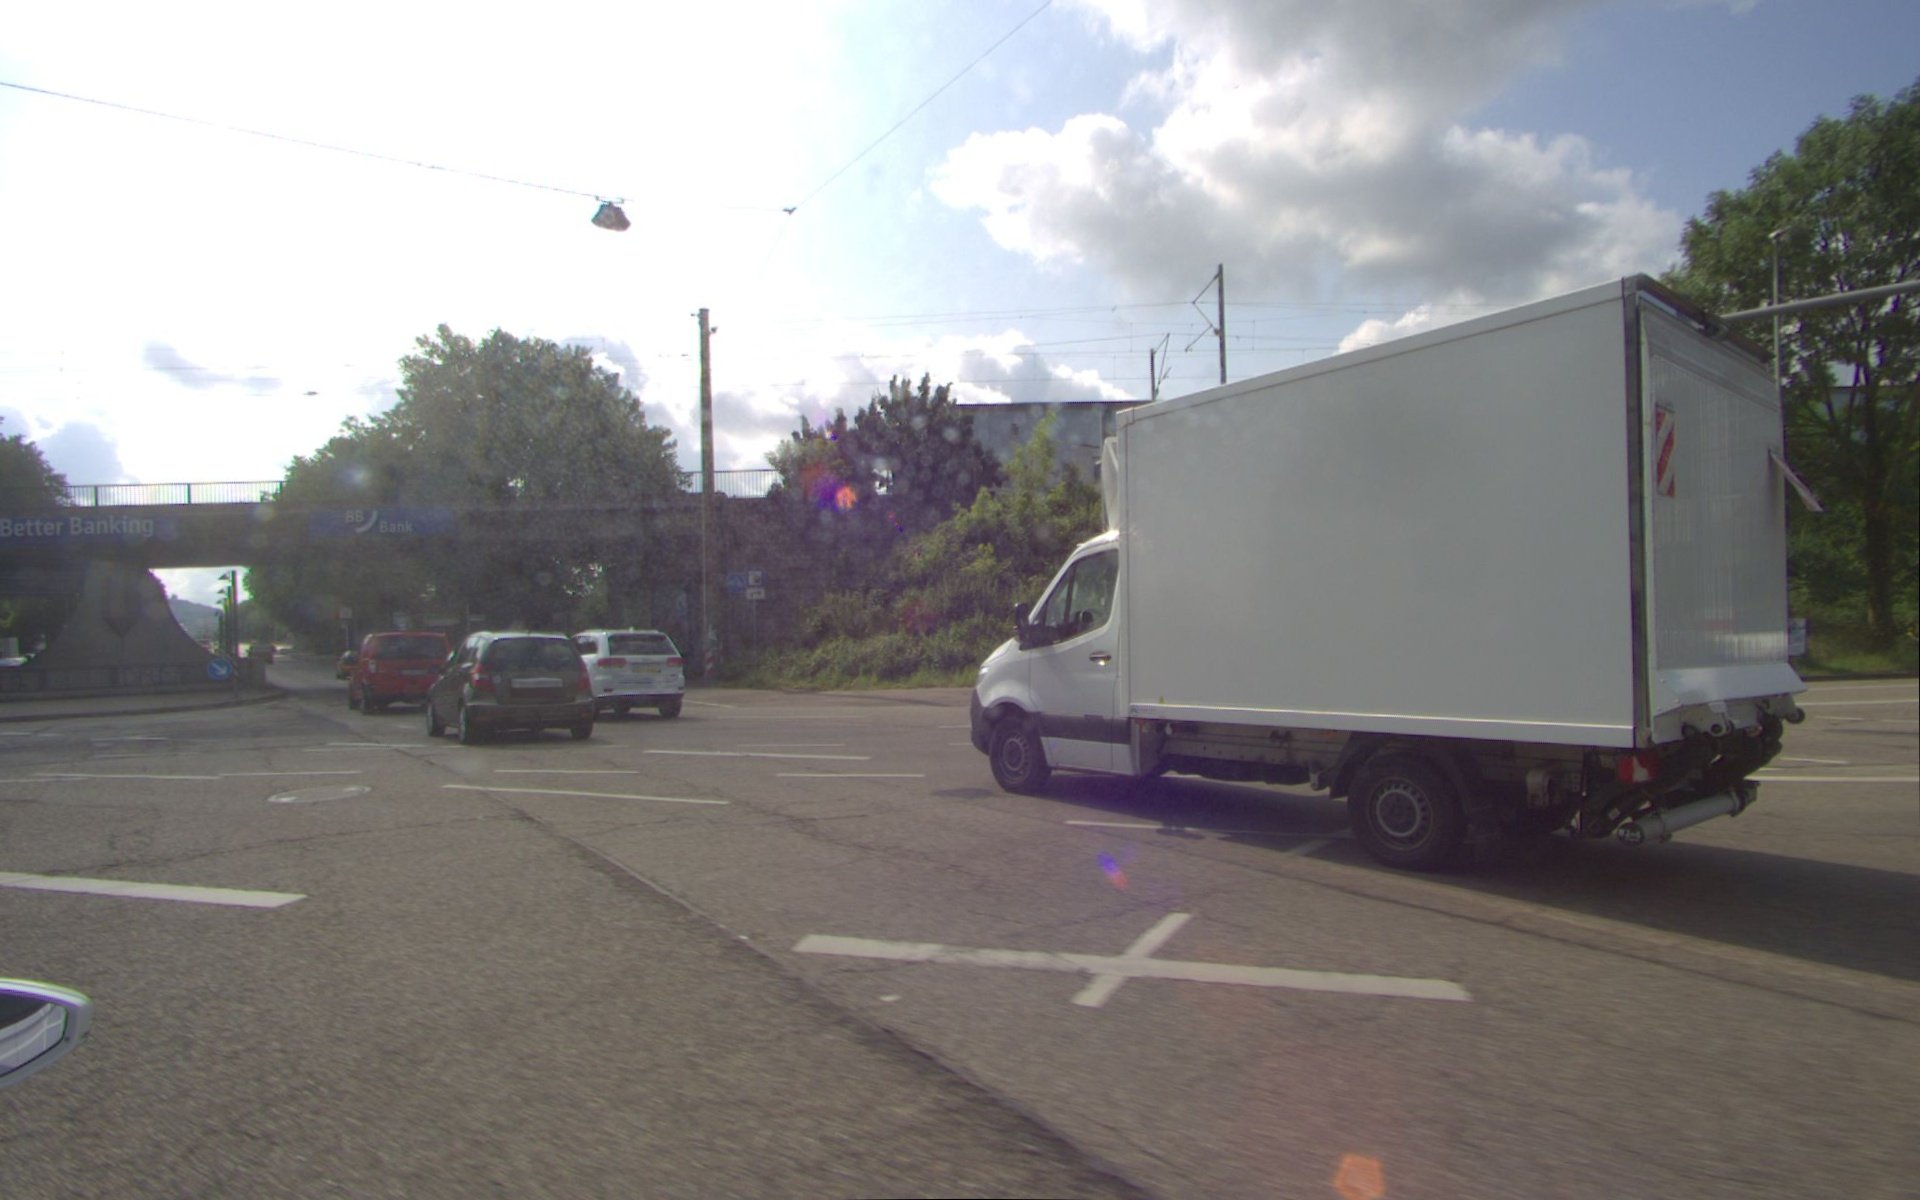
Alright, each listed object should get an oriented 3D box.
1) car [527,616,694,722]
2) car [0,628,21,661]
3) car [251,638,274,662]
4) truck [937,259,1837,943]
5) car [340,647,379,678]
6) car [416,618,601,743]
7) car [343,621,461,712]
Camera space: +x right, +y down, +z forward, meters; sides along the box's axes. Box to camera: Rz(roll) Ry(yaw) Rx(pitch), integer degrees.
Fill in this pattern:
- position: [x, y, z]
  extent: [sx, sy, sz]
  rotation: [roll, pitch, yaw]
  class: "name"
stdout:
- position: [-7.279, 1.391, 20.586]
  extent: [1.978, 1.925, 4.478]
  rotation: [2, -4, -37]
  class: "car"
- position: [-80.870, 3.779, 84.337]
  extent: [2.227, 2.613, 5.578]
  rotation: [-4, 1, -41]
  class: "car"
- position: [-65.528, 4.660, 94.086]
  extent: [1.782, 2.151, 3.742]
  rotation: [0, -2, -35]
  class: "car"
- position: [2.576, 0.114, 7.746]
  extent: [2.427, 3.161, 5.982]
  rotation: [1, -2, -38]
  class: "truck"
- position: [-33.098, 3.397, 55.145]
  extent: [1.757, 1.578, 3.978]
  rotation: [0, -2, -32]
  class: "car"
- position: [-6.902, 1.188, 15.115]
  extent: [1.776, 1.628, 3.773]
  rotation: [2, -4, -37]
  class: "car"
- position: [-13.963, 1.586, 24.926]
  extent: [1.939, 2.042, 4.643]
  rotation: [2, -2, -37]
  class: "car"
